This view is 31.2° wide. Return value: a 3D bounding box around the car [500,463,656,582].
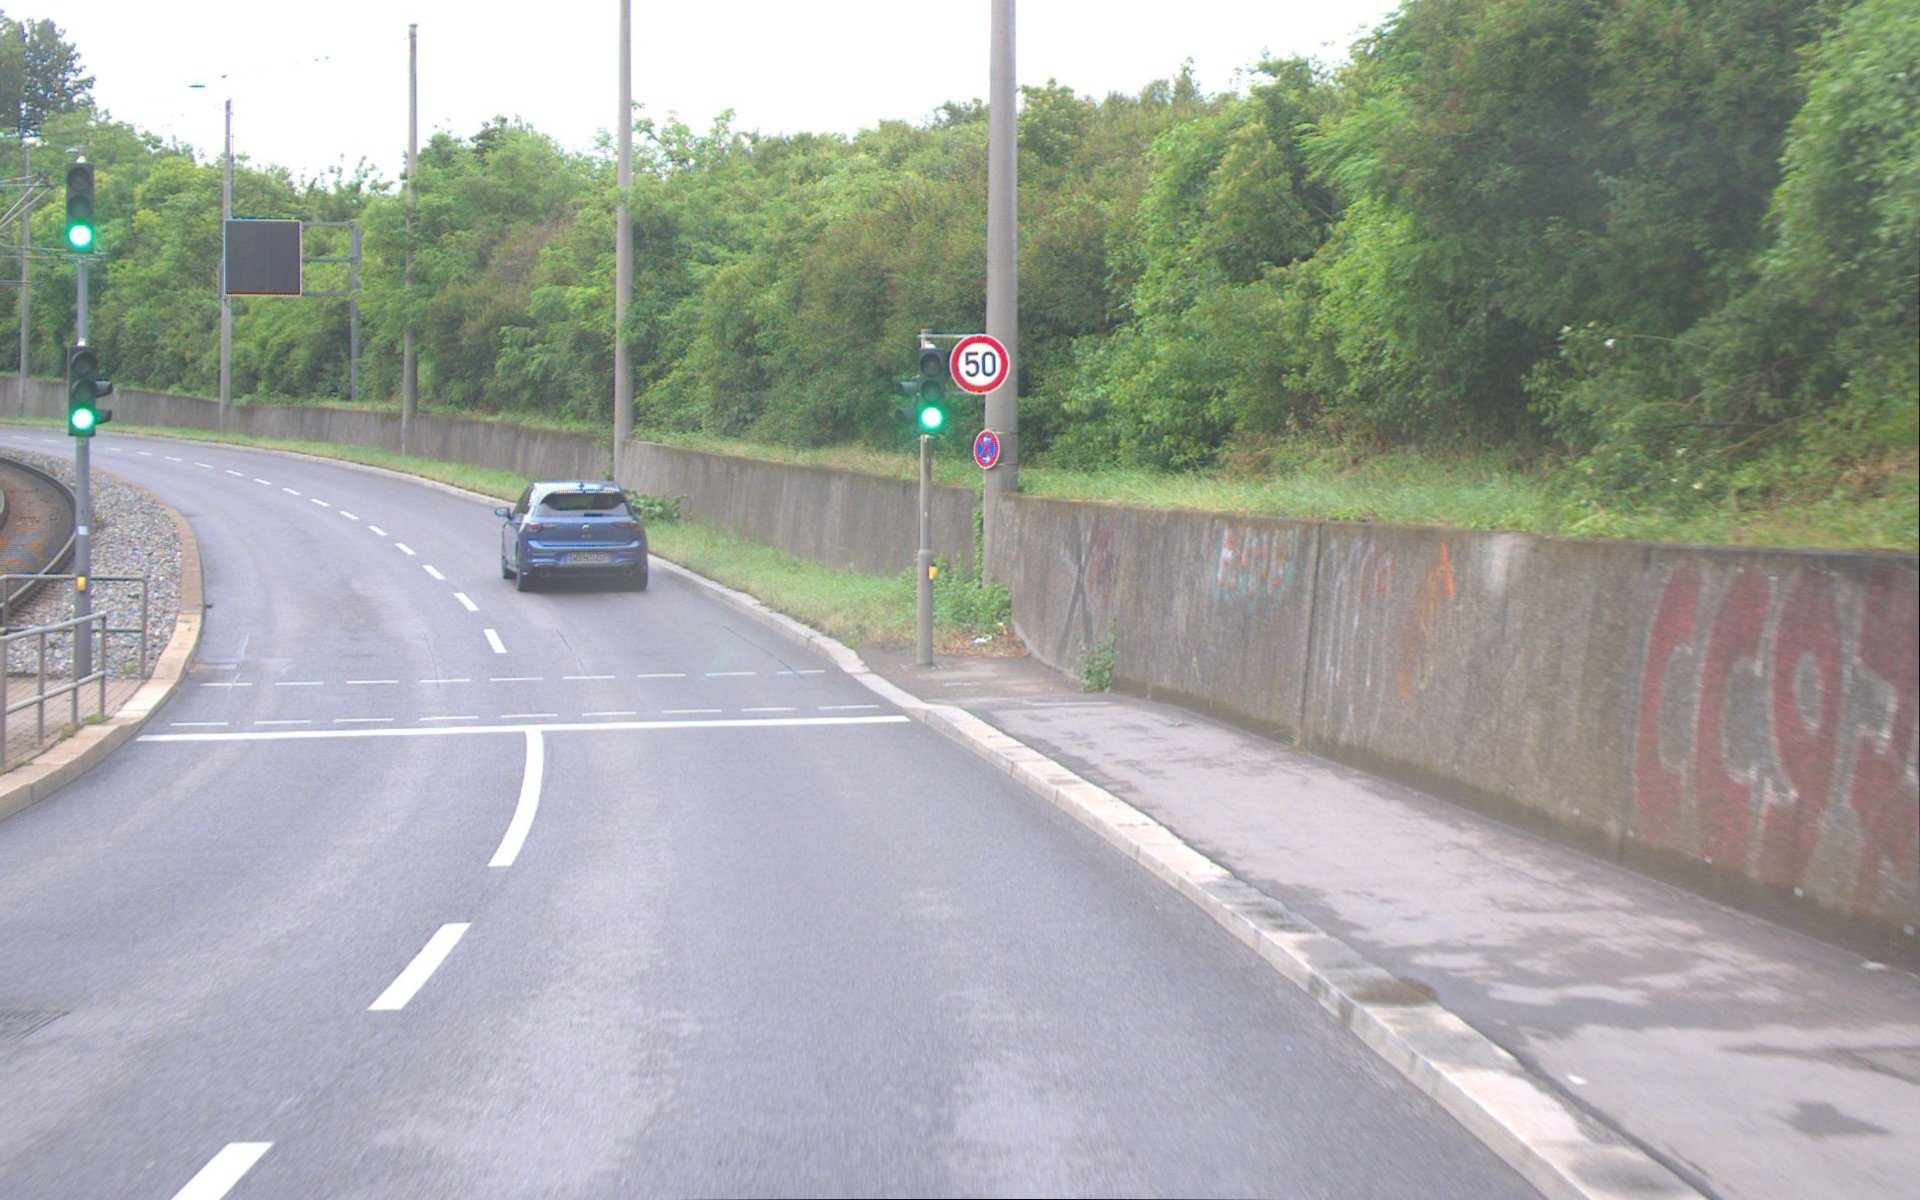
[{"bbox_3d":[-5.318,-1.103,47.537,1.763,1.496,4.002,1,3,-12],"label":"car"}]
